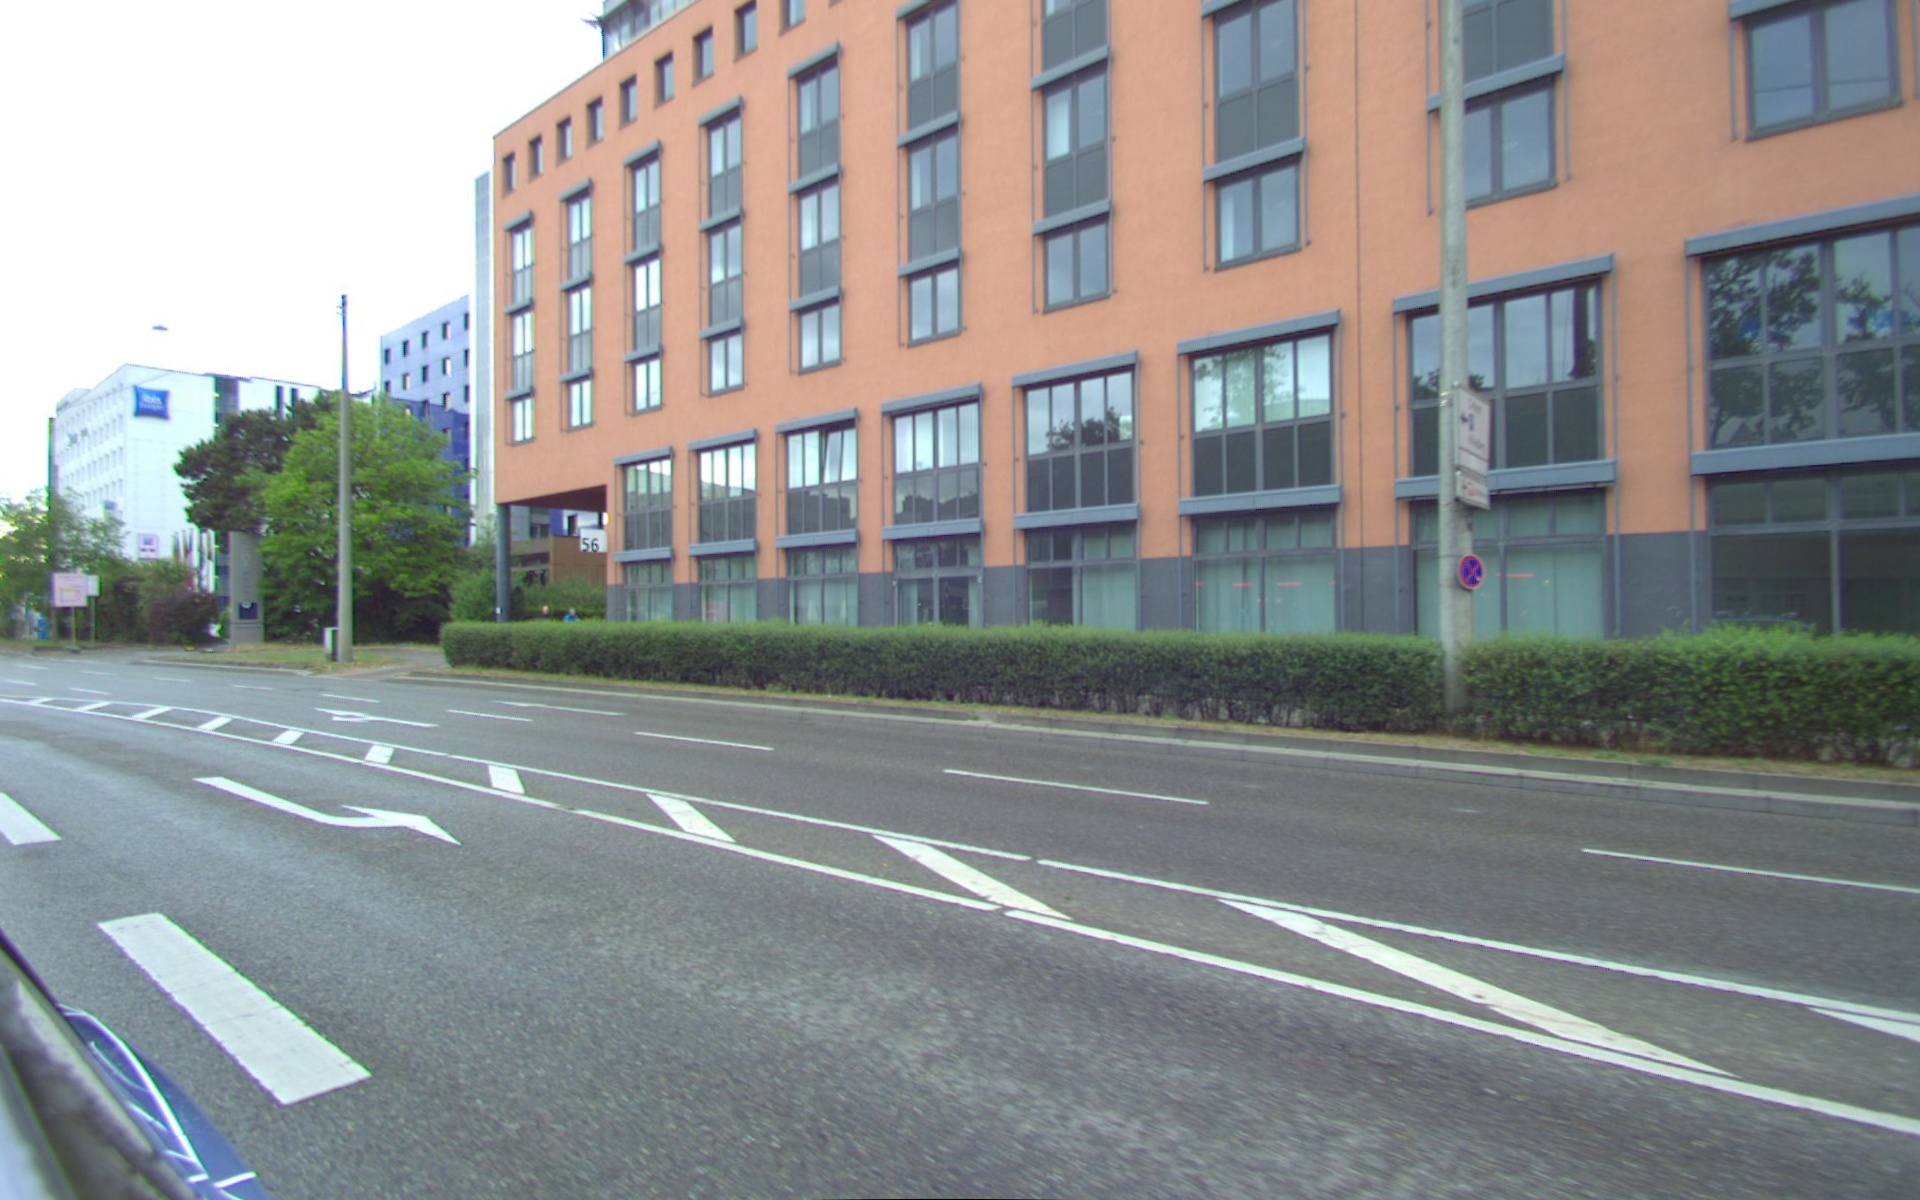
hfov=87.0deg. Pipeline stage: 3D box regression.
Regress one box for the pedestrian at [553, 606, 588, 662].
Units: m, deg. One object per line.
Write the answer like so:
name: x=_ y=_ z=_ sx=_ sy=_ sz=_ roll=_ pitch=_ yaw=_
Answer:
pedestrian: x=-13.120 y=1.141 z=34.072 sx=0.885 sy=1.855 sz=0.738 roll=-1 pitch=0 yaw=40

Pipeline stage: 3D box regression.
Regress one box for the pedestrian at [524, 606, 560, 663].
pedestrian: x=-13.860 y=1.143 z=33.540 sx=0.885 sy=1.855 sz=0.738 roll=-1 pitch=0 yaw=40
